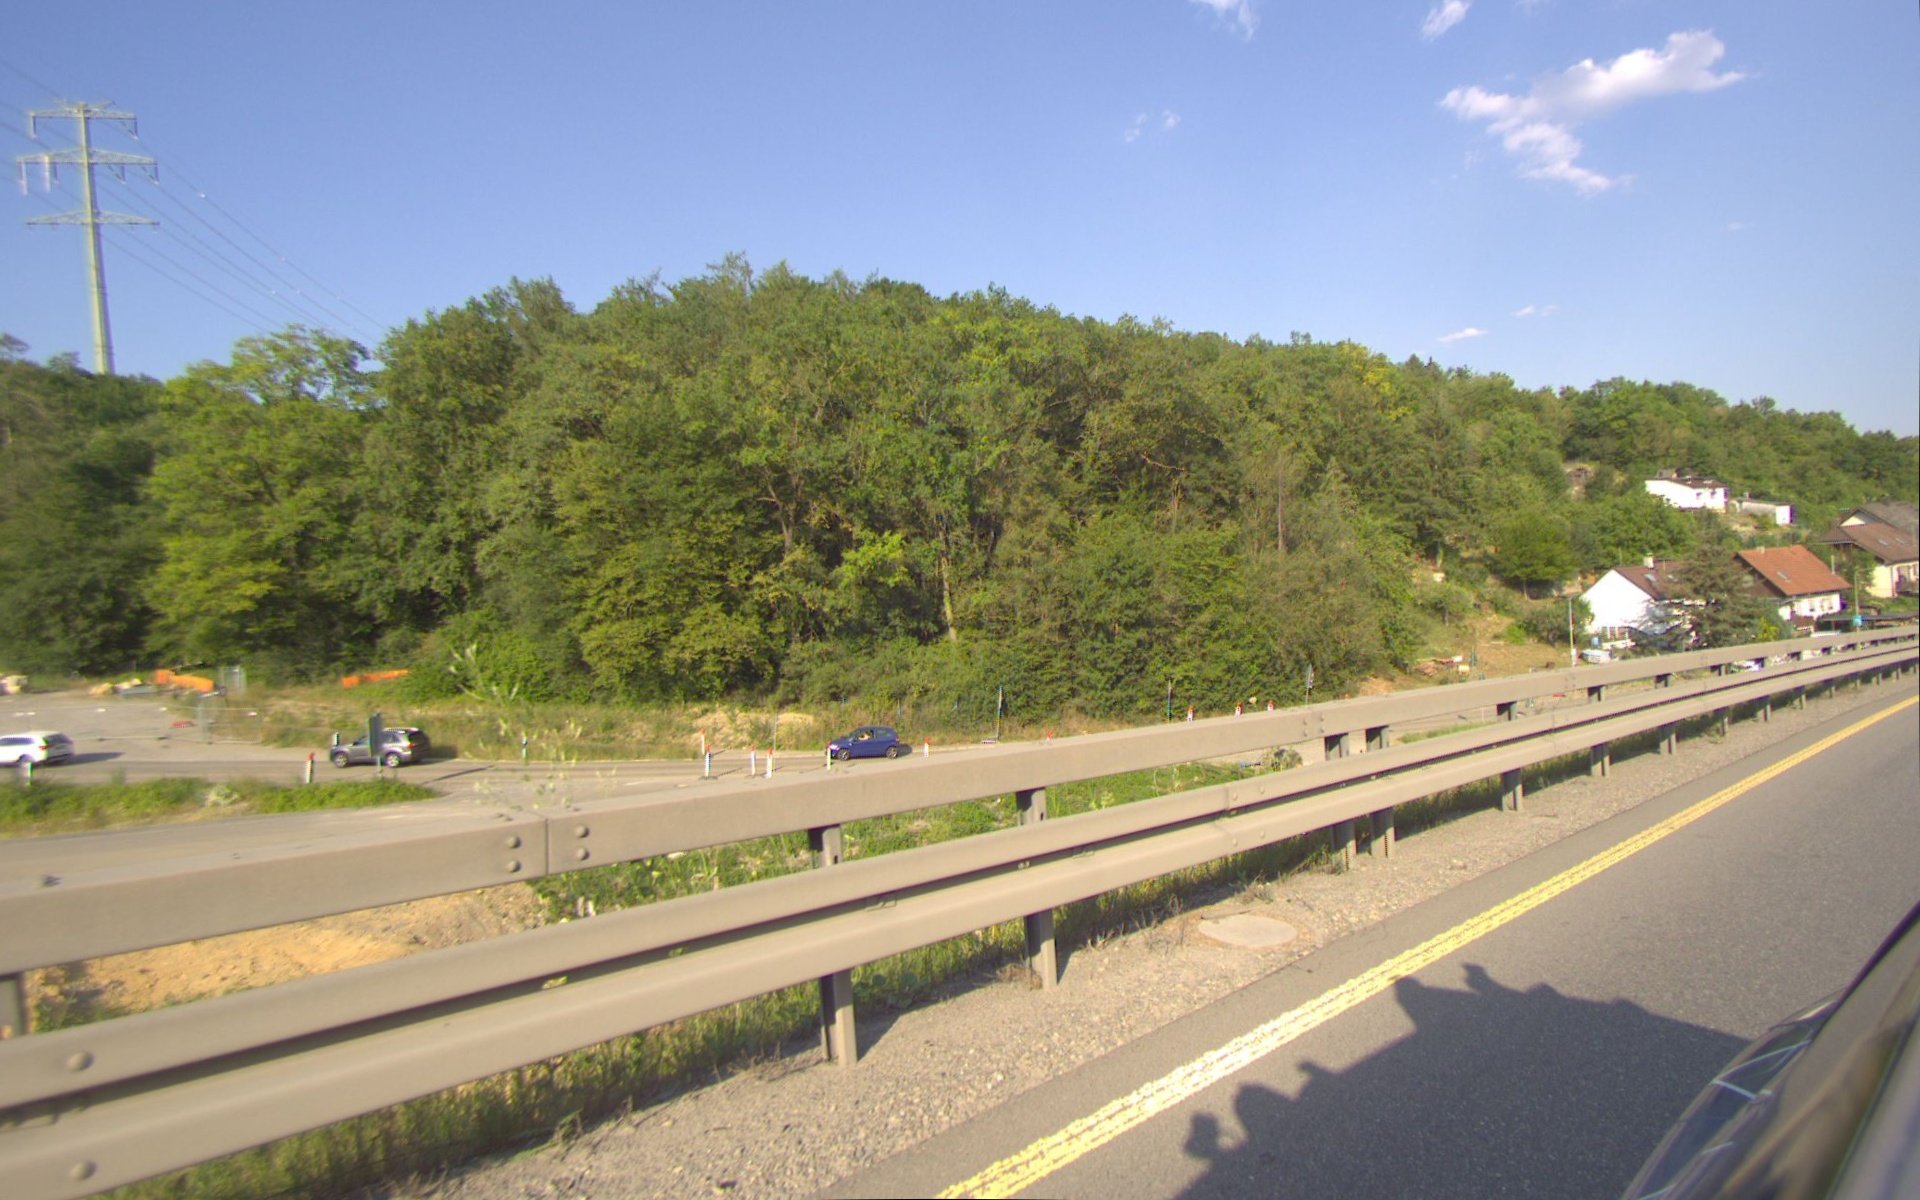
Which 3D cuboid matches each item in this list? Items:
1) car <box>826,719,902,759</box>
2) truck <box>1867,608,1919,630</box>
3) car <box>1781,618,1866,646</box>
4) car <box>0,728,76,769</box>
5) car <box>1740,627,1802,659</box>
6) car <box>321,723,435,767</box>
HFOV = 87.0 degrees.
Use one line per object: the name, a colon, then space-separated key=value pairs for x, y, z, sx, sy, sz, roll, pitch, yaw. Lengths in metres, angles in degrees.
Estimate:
car: x=-4.774 y=6.854 z=50.223 sx=3.542 sy=1.619 sz=1.776 roll=-1 pitch=-2 yaw=-11
truck: x=88.360 y=1.768 z=95.684 sx=1.970 sy=1.760 sz=3.984 roll=-7 pitch=-2 yaw=13
car: x=78.661 y=2.918 z=92.264 sx=1.960 sy=2.292 sz=5.492 roll=-3 pitch=1 yaw=-27
car: x=-46.540 y=7.339 z=49.848 sx=4.381 sy=1.683 sz=1.675 roll=-1 pitch=-1 yaw=-6
car: x=62.529 y=3.274 z=78.039 sx=4.950 sy=2.010 sz=1.871 roll=-4 pitch=3 yaw=-27
car: x=-27.935 y=6.965 z=48.692 sx=4.413 sy=1.807 sz=1.868 roll=0 pitch=0 yaw=0
